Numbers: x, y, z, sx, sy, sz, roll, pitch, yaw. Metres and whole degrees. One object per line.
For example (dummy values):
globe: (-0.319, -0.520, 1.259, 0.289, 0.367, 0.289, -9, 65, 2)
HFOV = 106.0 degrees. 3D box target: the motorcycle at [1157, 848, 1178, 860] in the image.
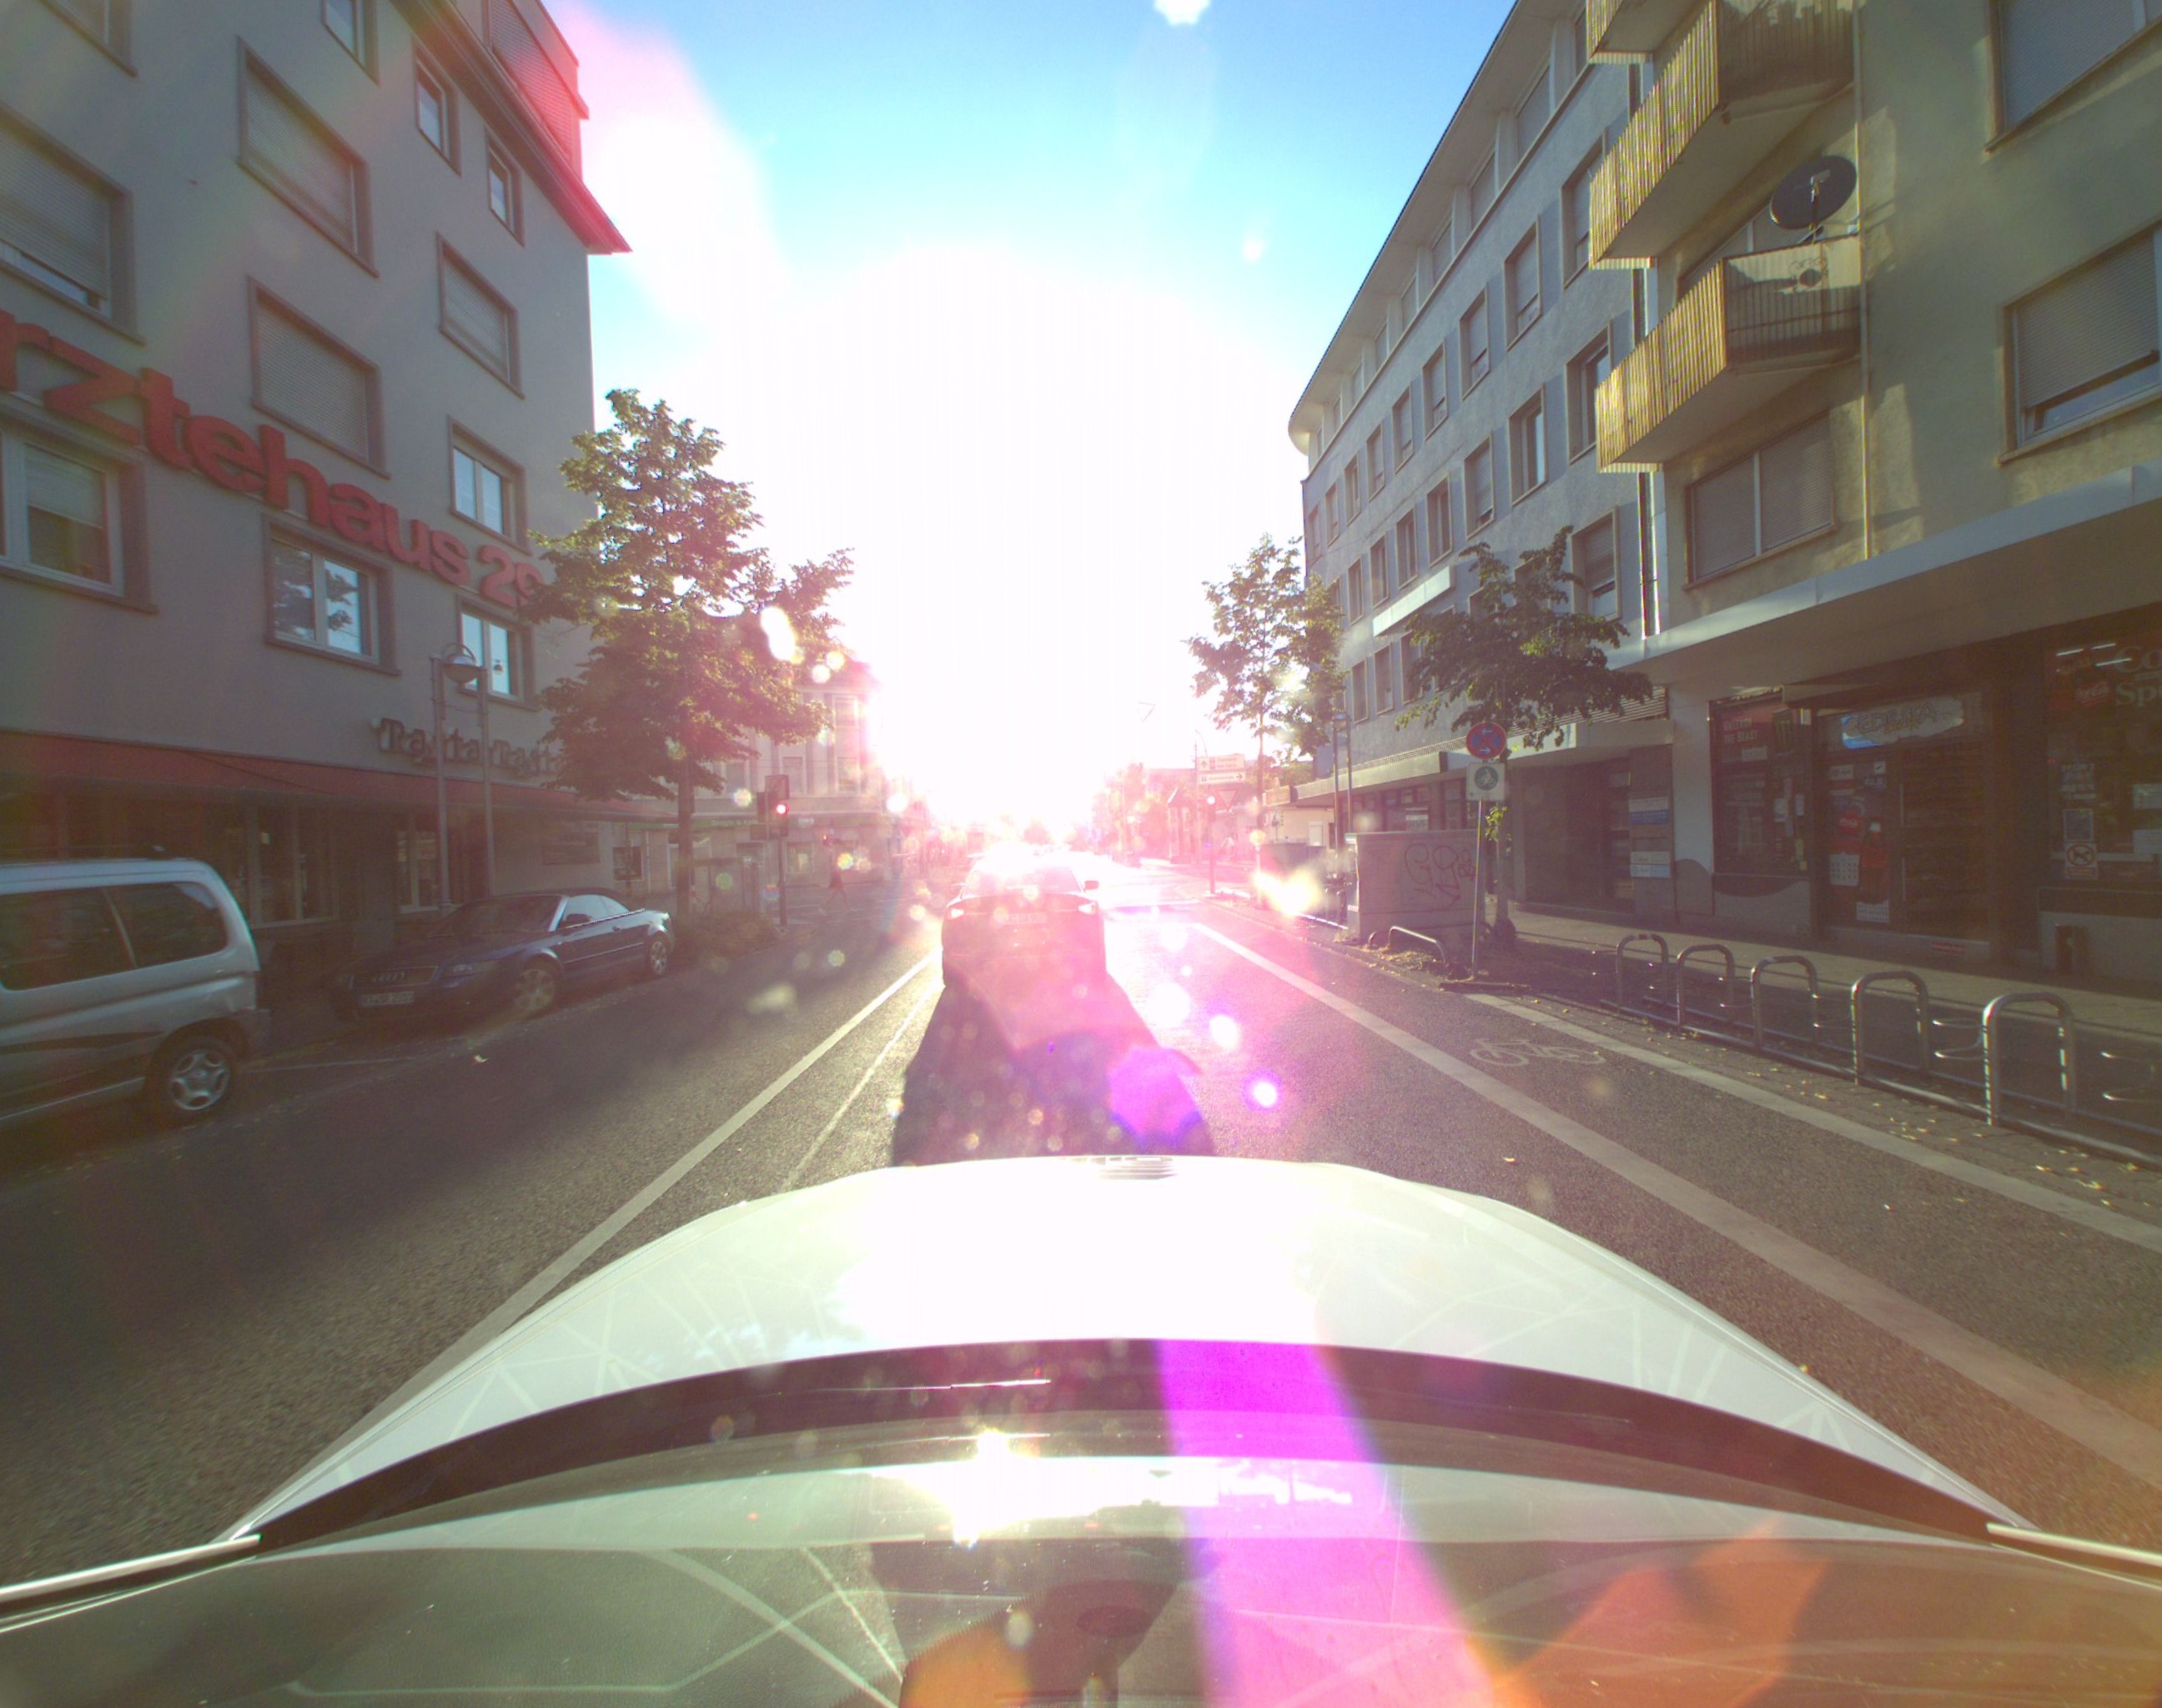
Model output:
motorcycle: (7.569, -0.024, 71.298, 1.670, 0.939, 0.852, -2, 1, -12)

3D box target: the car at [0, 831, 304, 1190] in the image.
car: (-6.529, 0.876, 3.953, 1.666, 1.887, 4.048, -4, 0, -4)

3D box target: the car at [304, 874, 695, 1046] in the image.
car: (-6.627, 1.076, 10.014, 1.718, 1.415, 4.277, -4, 0, -2)

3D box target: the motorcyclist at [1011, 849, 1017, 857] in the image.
motorcyclist: (-8.203, -0.092, 99.724, 0.573, 0.915, 2.200, 0, 0, -1)

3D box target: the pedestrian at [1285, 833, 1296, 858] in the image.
pedestrian: (14.431, -0.578, 56.171, 0.481, 1.734, 0.527, 0, 0, -26)

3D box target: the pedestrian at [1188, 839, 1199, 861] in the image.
pedestrian: (7.828, -0.285, 56.683, 0.730, 1.529, 0.472, 0, 0, -1)

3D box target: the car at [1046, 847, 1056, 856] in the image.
car: (-5.719, -0.450, 154.442, 1.812, 1.519, 3.998, -2, 1, -1)

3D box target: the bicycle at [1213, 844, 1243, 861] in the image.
bicycle: (9.884, -0.094, 54.659, 0.554, 1.159, 2.119, 0, 0, -39)

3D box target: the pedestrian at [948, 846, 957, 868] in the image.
pedestrian: (-11.314, 0.254, 71.774, 0.641, 1.876, 0.631, 0, 0, -2)

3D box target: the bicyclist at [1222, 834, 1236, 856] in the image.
bicyclist: (9.937, -0.606, 54.585, 0.554, 1.481, 0.714, 0, -1, -39)

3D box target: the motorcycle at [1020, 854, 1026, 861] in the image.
motorcycle: (-7.109, 0.435, 99.290, 0.573, 0.915, 2.200, 0, 0, -1)

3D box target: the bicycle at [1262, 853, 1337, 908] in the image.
bicycle: (4.995, 0.600, 18.649, 1.607, 1.171, 0.318, -2, 0, 0)

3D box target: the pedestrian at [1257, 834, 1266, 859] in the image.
pedestrian: (12.545, -0.548, 56.525, 0.444, 1.734, 0.430, 0, 0, -26)

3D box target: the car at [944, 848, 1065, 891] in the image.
car: (-3.048, 0.584, 32.517, 4.330, 1.498, 1.983, -2, 1, -27)

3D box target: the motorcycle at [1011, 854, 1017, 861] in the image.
motorcycle: (-8.198, 0.439, 99.787, 0.573, 0.915, 2.200, 0, 0, -1)

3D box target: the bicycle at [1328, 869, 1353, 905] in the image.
bicycle: (5.992, 0.751, 18.830, 0.248, 0.796, 1.115, 0, 0, 1)

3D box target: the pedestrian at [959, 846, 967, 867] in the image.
pedestrian: (-10.437, 0.246, 72.061, 0.674, 1.876, 0.617, 0, 0, -2)

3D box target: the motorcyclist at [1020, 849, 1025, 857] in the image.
motorcyclist: (-7.103, -0.096, 99.179, 0.573, 0.995, 0.702, 0, 0, -1)

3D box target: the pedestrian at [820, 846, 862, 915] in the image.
pedestrian: (-6.820, 0.742, 23.098, 1.005, 1.860, 0.635, -3, 1, -22)

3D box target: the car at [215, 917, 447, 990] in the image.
car: (-20.958, 2.743, 23.025, 4.430, 1.473, 1.802, -2, 1, -27)

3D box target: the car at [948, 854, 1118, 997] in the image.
car: (-0.565, 0.731, 10.502, 1.732, 1.428, 4.220, -1, 0, -2)

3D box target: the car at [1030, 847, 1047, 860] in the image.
car: (-5.212, -0.046, 99.886, 1.812, 1.519, 3.998, -2, 1, -1)

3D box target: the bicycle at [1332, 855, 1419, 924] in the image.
bicycle: (5.343, 0.636, 14.794, 1.436, 1.220, 0.383, 0, 0, 0)
